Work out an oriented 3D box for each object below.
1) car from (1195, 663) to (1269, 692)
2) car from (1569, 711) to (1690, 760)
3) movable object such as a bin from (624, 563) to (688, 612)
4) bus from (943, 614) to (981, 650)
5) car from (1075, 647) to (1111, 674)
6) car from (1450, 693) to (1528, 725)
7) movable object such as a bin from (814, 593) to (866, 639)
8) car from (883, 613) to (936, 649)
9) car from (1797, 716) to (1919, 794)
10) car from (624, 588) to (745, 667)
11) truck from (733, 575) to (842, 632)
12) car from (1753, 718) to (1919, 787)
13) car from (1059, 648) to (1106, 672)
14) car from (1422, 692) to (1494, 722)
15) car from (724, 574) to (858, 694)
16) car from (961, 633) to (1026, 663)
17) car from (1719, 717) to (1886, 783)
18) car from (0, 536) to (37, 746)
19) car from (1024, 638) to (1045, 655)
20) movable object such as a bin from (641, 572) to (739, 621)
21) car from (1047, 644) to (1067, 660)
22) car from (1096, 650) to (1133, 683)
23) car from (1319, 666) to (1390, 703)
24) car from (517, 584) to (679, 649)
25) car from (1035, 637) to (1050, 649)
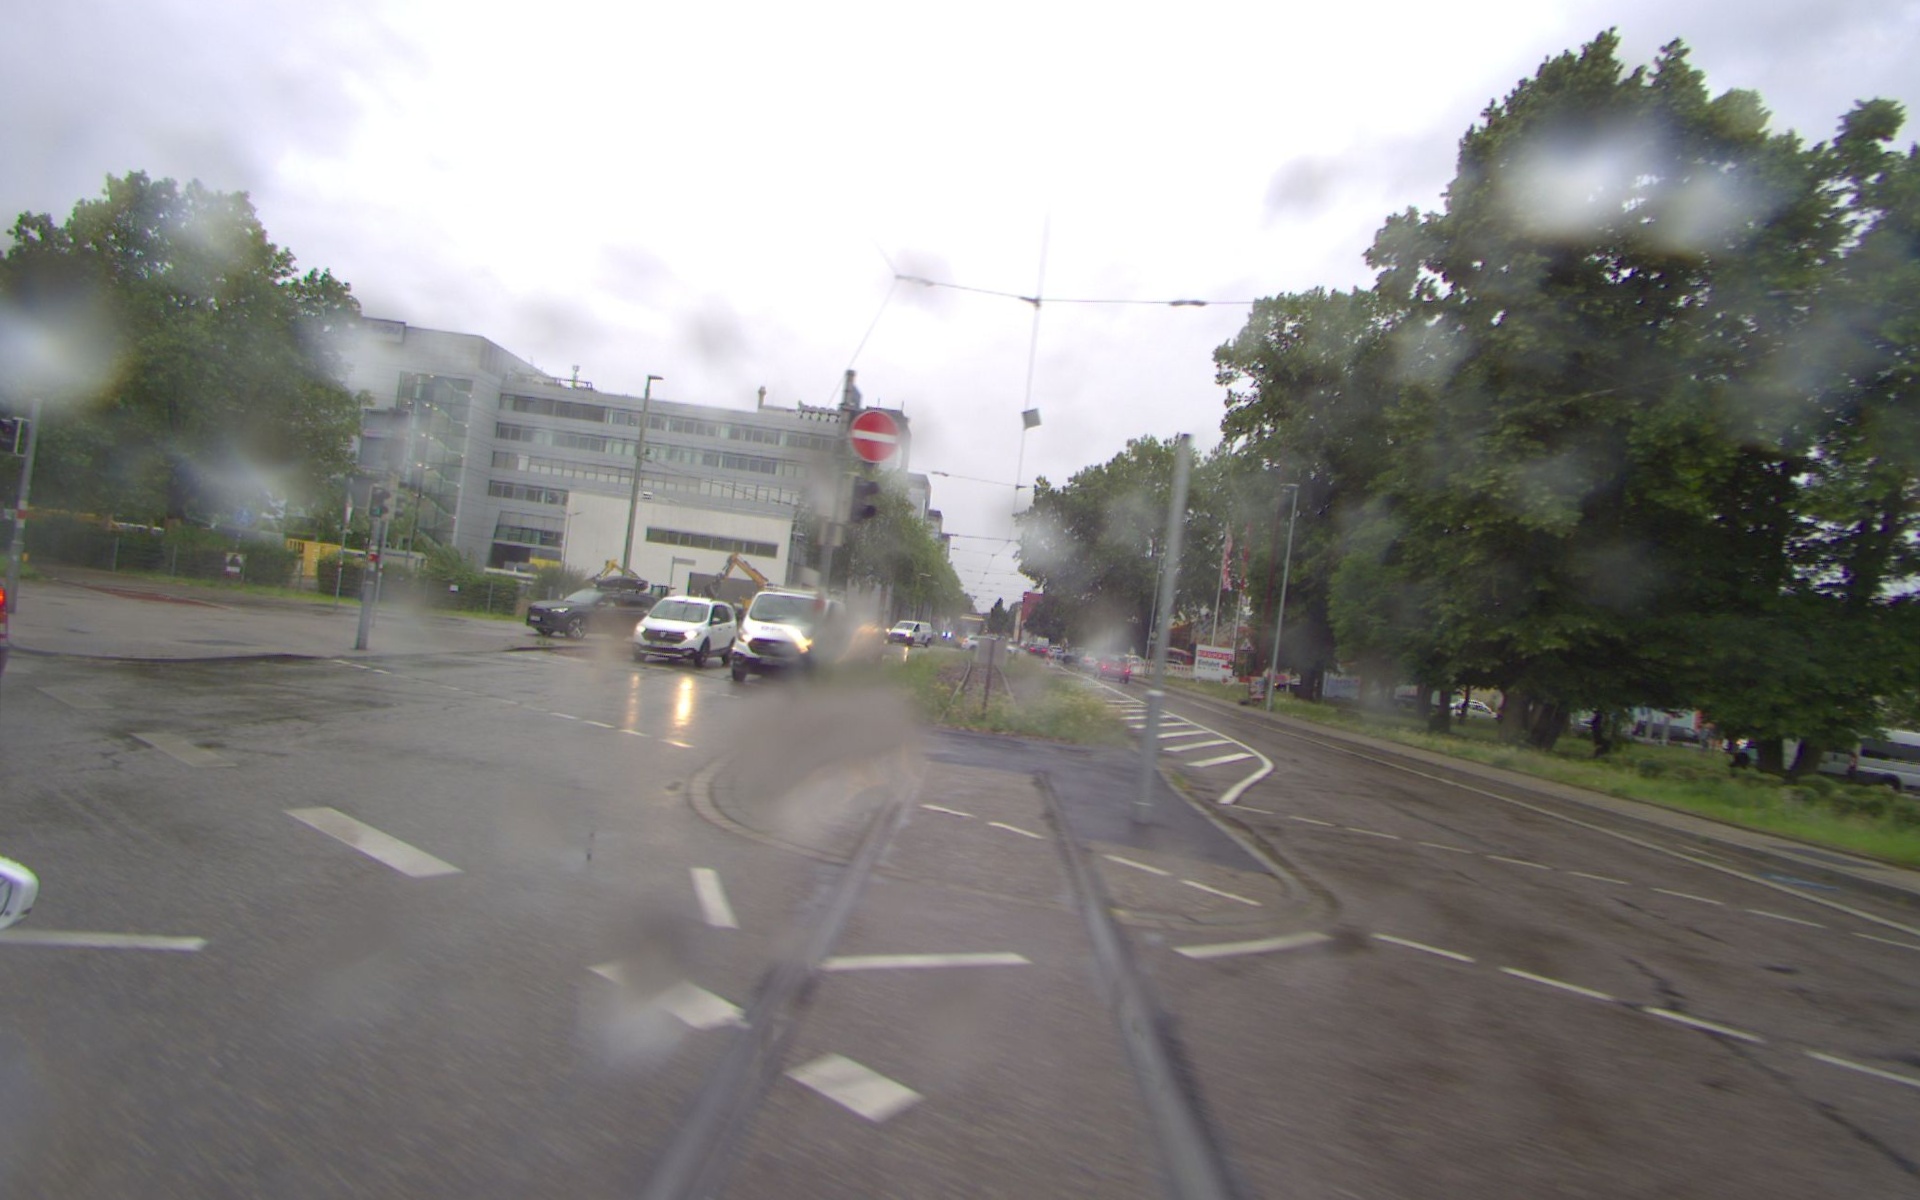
[{"bbox_3d":[24.476,6.962,90.674,5.850,1.752,2.279,7,-1,2],"label":"car"},{"bbox_3d":[36.711,7.415,55.277,4.940,1.858,2.193,7,-1,3],"label":"car"},{"bbox_3d":[-21.771,-0.857,72.250,3.269,3.031,3.330,7,-1,1],"label":"movable object such as a bin"},{"bbox_3d":[0.102,3.013,96.840,2.484,3.071,8.526,7,-2,-6],"label":"bus"},{"bbox_3d":[9.010,4.103,68.599,1.891,1.508,4.835,7,-2,3],"label":"car"},{"bbox_3d":[41.676,8.579,79.396,4.940,1.752,1.967,7,-1,3],"label":"car"},{"bbox_3d":[-10.503,1.449,88.883,3.266,3.548,6.325,7,-1,2],"label":"movable object such as a bin"},{"bbox_3d":[-3.838,2.412,77.602,1.963,2.034,5.374,7,-4,21],"label":"car"},{"bbox_3d":[34.172,5.758,36.184,5.952,2.230,2.193,7,-1,3],"label":"car"},{"bbox_3d":[-6.912,0.712,25.740,1.743,1.640,4.384,7,-2,0],"label":"car"},{"bbox_3d":[-13.684,0.318,80.329,7.743,3.549,3.330,7,-1,1],"label":"truck"},{"bbox_3d":[34.353,5.917,39.187,4.940,1.858,2.193,7,-1,3],"label":"car"},{"bbox_3d":[10.557,5.198,86.993,3.747,1.507,1.680,8,-2,0],"label":"car"},{"bbox_3d":[42.122,9.026,85.104,4.940,1.752,1.967,7,-1,3],"label":"car"},{"bbox_3d":[-3.595,0.764,22.344,1.963,2.150,4.692,7,-2,0],"label":"car"},{"bbox_3d":[2.681,3.832,80.395,4.964,1.672,1.885,8,-4,5],"label":"car"},{"bbox_3d":[35.393,6.282,42.391,4.940,1.858,2.193,7,-1,3],"label":"car"},{"bbox_3d":[-8.180,0.082,7.061,3.674,1.480,1.645,6,-4,36],"label":"car"},{"bbox_3d":[7.842,4.866,105.815,1.891,1.508,4.835,7,-2,3],"label":"car"},{"bbox_3d":[-21.591,-0.217,80.685,6.597,3.031,3.330,7,-1,1],"label":"movable object such as a bin"},{"bbox_3d":[10.882,5.866,112.924,1.891,1.508,4.835,7,-2,3],"label":"car"},{"bbox_3d":[8.487,3.670,55.501,1.647,1.507,3.823,7,-3,5],"label":"car"},{"bbox_3d":[31.169,6.656,79.593,4.668,2.239,1.967,7,-1,3],"label":"car"},{"bbox_3d":[-11.495,0.578,32.280,1.771,1.542,4.636,6,-2,34],"label":"car"},{"bbox_3d":[11.905,6.287,145.903,1.891,1.508,4.835,7,-2,3],"label":"car"}]
